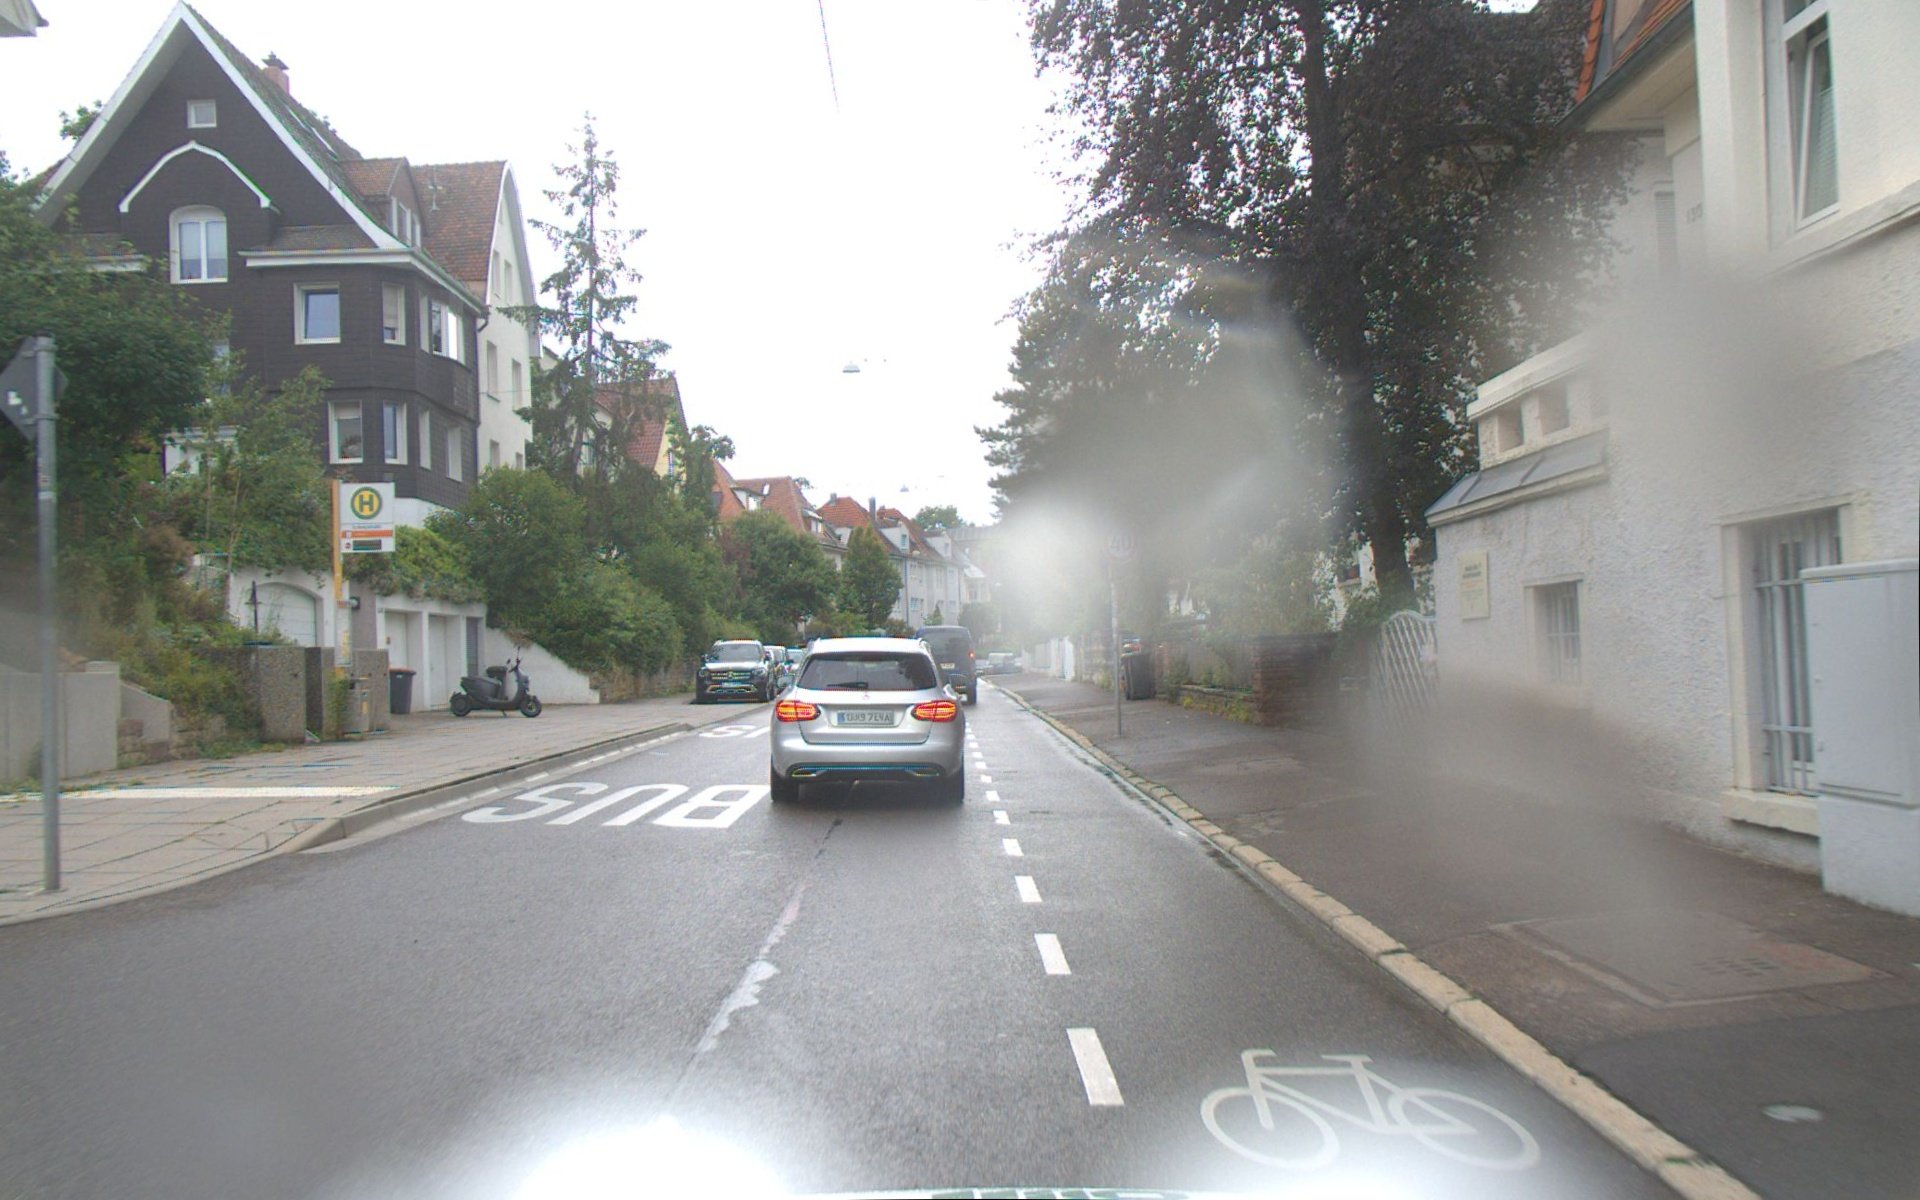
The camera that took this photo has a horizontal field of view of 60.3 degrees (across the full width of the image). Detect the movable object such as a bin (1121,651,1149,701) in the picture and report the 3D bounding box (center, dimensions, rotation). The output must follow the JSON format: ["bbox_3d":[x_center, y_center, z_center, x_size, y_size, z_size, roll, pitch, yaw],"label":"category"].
[{"bbox_3d":[3.541,1.533,33.503,0.484,0.972,0.503,-1,0,-3],"label":"movable object such as a bin"}]

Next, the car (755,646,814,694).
[{"bbox_3d":[-6.194,2.450,58.677,1.720,1.472,4.414,-1,0,-1],"label":"car"}]

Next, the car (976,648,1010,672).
[{"bbox_3d":[2.926,5.278,145.712,1.790,2.092,5.012,-1,-3,16],"label":"car"}]

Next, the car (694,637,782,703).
[{"bbox_3d":[-5.866,1.841,44.110,1.855,1.651,4.377,-1,-2,-2],"label":"car"}]

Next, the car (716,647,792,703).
[{"bbox_3d":[-6.079,2.184,49.092,1.855,1.472,3.812,-1,0,-2],"label":"car"}]

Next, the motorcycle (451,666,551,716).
[{"bbox_3d":[-8.925,1.767,32.198,1.758,0.919,0.603,1,-2,-2],"label":"motorcycle"}]

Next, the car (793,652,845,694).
[{"bbox_3d":[-6.652,3.426,78.333,1.952,1.911,5.355,0,-2,0],"label":"car"}]

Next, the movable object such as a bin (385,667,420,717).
[{"bbox_3d":[-11.245,1.846,33.363,0.562,0.970,0.512,-1,0,-6],"label":"movable object such as a bin"}]

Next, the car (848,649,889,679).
[{"bbox_3d":[-5.678,3.959,102.748,1.952,1.732,4.740,1,-2,4],"label":"car"}]

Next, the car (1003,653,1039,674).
[{"bbox_3d":[5.644,5.852,152.878,1.952,1.718,4.677,-1,0,20],"label":"car"}]

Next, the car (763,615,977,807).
[{"bbox_3d":[-0.861,0.982,15.803,1.780,1.584,3.997,0,-2,-3],"label":"car"}]

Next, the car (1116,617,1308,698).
[{"bbox_3d":[5.539,1.252,36.694,3.906,1.668,1.918,-1,0,-1],"label":"car"}]

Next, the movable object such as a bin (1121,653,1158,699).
[{"bbox_3d":[3.572,1.507,32.926,0.638,0.870,0.503,-1,0,-3],"label":"movable object such as a bin"}]

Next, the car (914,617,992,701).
[{"bbox_3d":[-0.185,1.466,40.530,1.805,1.937,3.998,0,-3,-1],"label":"car"}]

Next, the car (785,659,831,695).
[{"bbox_3d":[-6.553,3.303,71.651,1.660,1.472,3.812,-1,-2,0],"label":"car"}]

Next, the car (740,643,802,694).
[{"bbox_3d":[-6.113,2.202,53.789,1.662,1.568,3.812,-1,-2,-2],"label":"car"}]

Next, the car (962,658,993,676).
[{"bbox_3d":[1.503,5.652,140.126,1.608,1.442,4.615,-1,-2,14],"label":"car"}]

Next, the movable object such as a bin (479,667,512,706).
[{"bbox_3d":[-11.459,2.128,40.832,0.480,0.904,0.617,-1,-1,45],"label":"movable object such as a bin"}]

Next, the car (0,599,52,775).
[{"bbox_3d":[-10.235,0.868,15.298,1.731,1.726,3.996,-1,0,-5],"label":"car"}]
